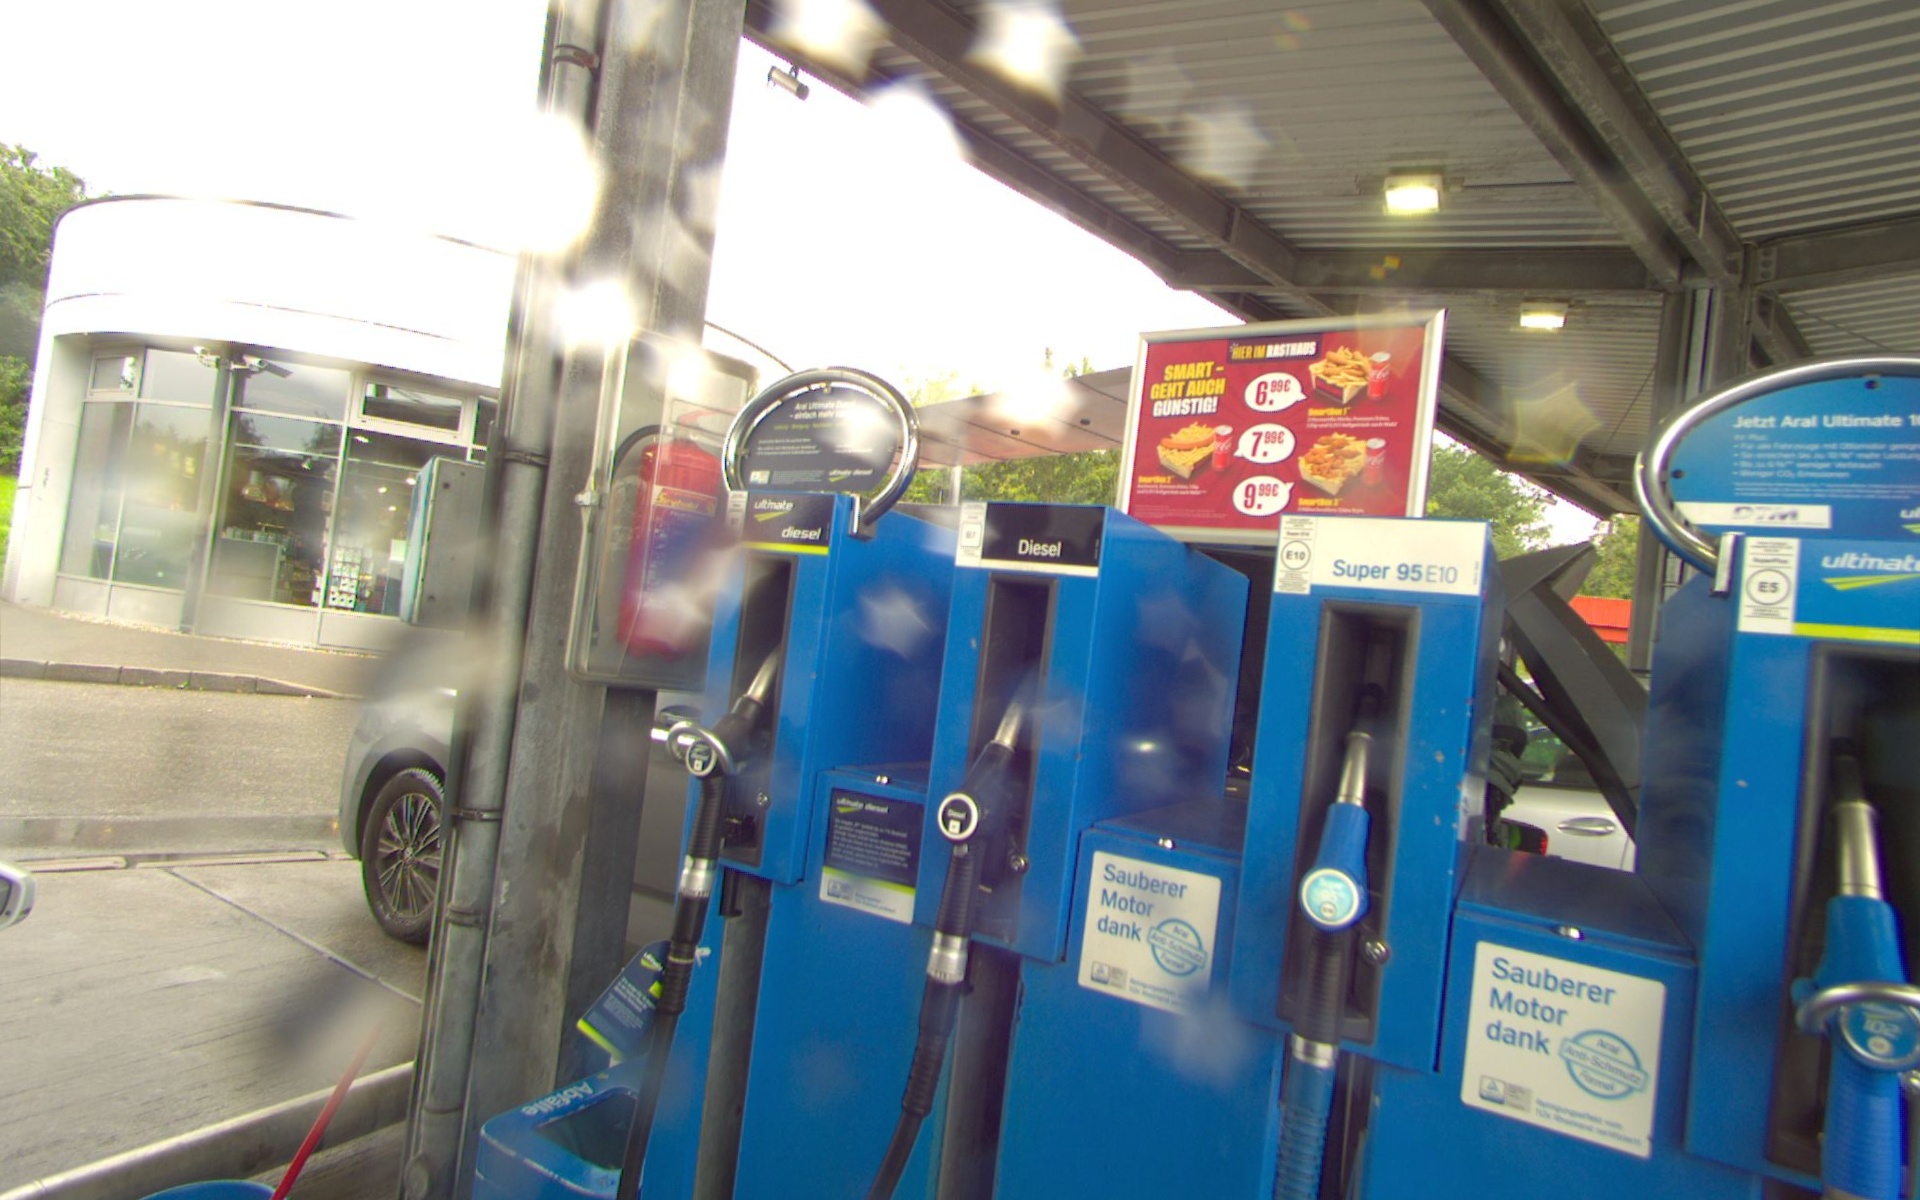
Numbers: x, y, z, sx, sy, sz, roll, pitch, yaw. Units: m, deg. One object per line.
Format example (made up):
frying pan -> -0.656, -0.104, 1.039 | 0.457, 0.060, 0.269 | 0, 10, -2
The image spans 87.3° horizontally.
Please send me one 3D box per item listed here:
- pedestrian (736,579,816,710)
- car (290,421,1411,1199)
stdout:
pedestrian -> -2.662, 0.625, 14.497 | 0.786, 1.755, 0.835 | 7, 0, -23
car -> -0.576, 0.511, 3.980 | 3.934, 1.971, 1.819 | 7, -1, 32
